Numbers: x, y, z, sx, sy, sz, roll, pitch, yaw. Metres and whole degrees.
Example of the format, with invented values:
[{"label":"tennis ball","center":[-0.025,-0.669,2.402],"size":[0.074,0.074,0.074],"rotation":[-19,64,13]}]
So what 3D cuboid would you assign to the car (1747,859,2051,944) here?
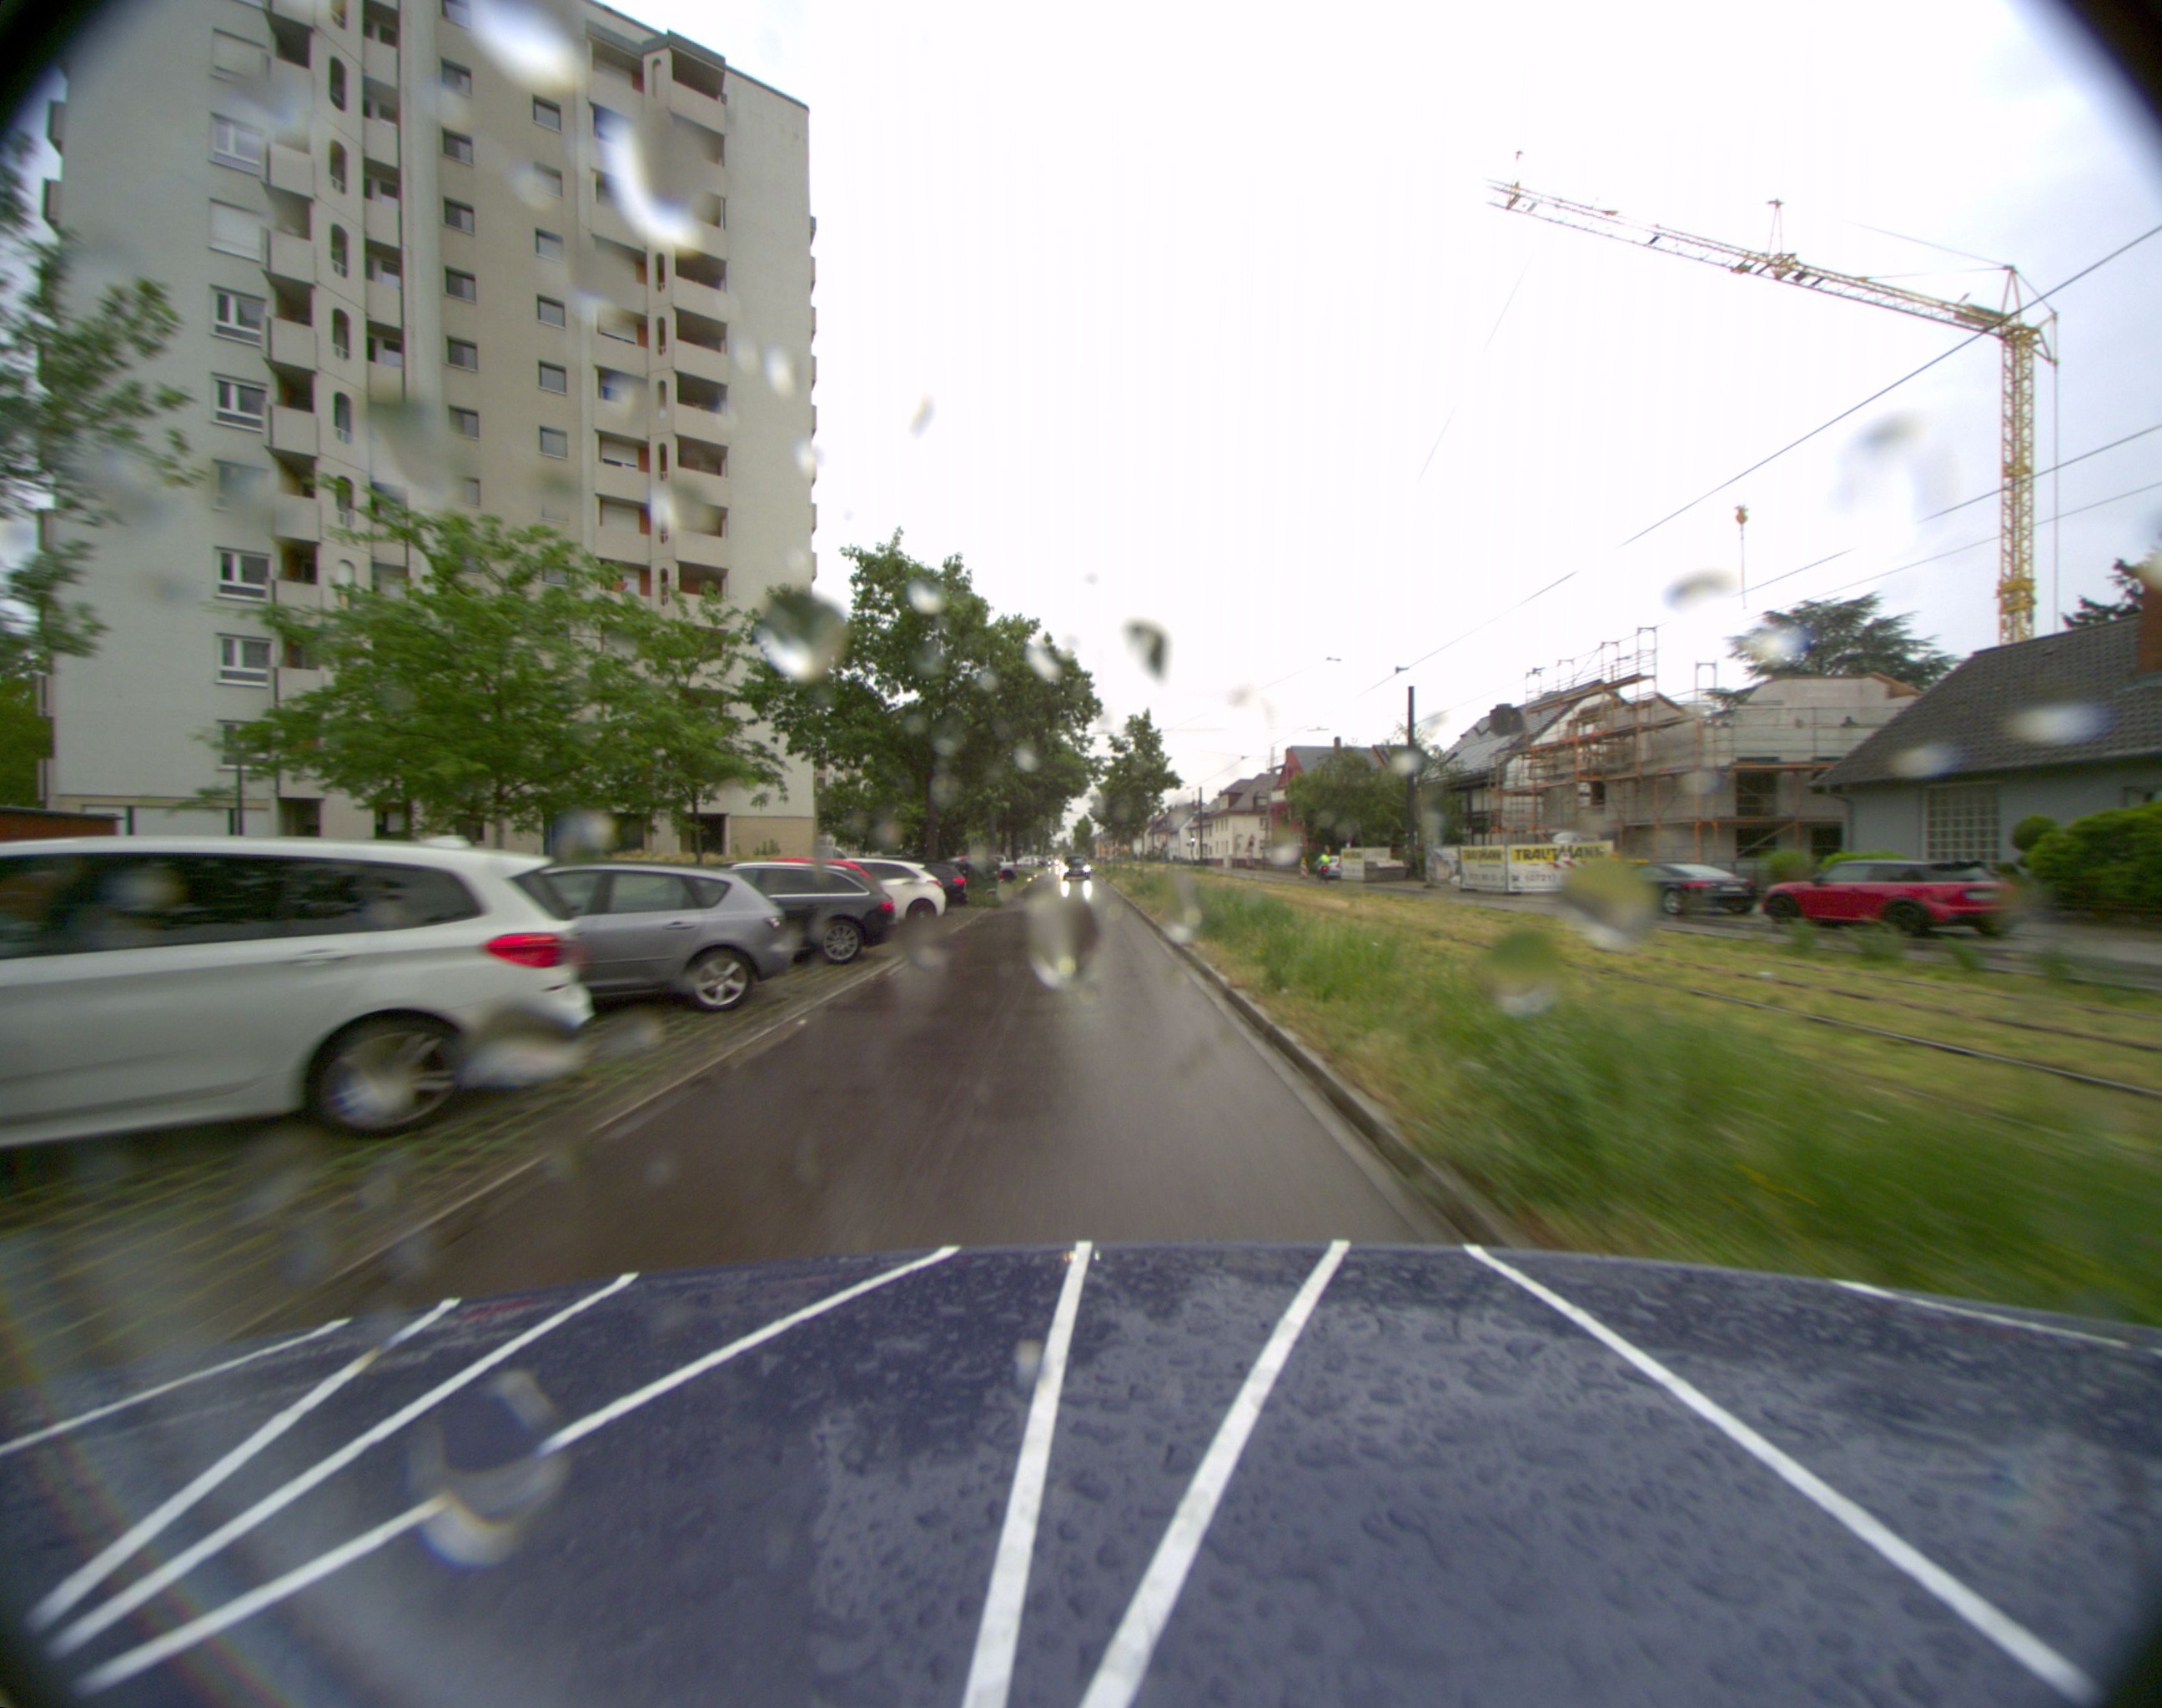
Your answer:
[{"label":"car","center":[16.137,0.860,15.350],"size":[1.999,1.365,3.842],"rotation":[-1,1,0]}]

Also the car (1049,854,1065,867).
[{"label":"car","center":[-3.312,0.933,106.399],"size":[1.998,1.696,4.000],"rotation":[-1,1,2]}]

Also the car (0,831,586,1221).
[{"label":"car","center":[-5.294,0.723,3.845],"size":[4.471,1.661,1.808],"rotation":[3,-1,-39]}]

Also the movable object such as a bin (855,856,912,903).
[{"label":"movable object such as a bin","center":[-6.389,0.788,24.565],"size":[1.370,1.414,1.183],"rotation":[-2,2,-41]}]

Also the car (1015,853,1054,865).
[{"label":"car","center":[-5.873,0.595,95.944],"size":[4.486,1.320,1.995],"rotation":[-2,1,-30]}]

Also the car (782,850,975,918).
[{"label":"car","center":[-5.155,0.782,19.550],"size":[4.469,1.533,1.680],"rotation":[3,1,-31]}]

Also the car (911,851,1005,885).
[{"label":"car","center":[-5.887,0.686,36.559],"size":[4.055,1.479,1.720],"rotation":[2,-1,-35]}]

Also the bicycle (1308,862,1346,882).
[{"label":"bicycle","center":[13.706,0.967,42.465],"size":[0.937,1.037,3.433],"rotation":[0,0,-1]}]

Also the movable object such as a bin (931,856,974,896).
[{"label":"movable object such as a bin","center":[-4.434,0.742,26.260],"size":[0.999,1.305,1.183],"rotation":[-2,2,-37]}]

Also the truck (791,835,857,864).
[{"label":"truck","center":[-23.639,-0.437,70.097],"size":[5.680,2.424,2.120],"rotation":[-2,1,-17]}]

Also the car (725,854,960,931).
[{"label":"car","center":[-5.081,0.819,16.408],"size":[4.470,1.456,1.815],"rotation":[3,-1,-34]}]

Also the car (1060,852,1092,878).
[{"label":"car","center":[-0.321,0.705,50.690],"size":[1.998,1.611,3.999],"rotation":[-1,1,0]}]

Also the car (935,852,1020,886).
[{"label":"car","center":[-5.407,0.745,39.794],"size":[4.054,1.676,1.720],"rotation":[-1,1,-35]}]

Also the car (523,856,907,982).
[{"label":"car","center":[-4.878,0.829,10.528],"size":[4.470,1.419,1.680],"rotation":[3,-1,-33]}]

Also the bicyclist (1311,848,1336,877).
[{"label":"bicyclist","center":[13.674,0.488,42.859],"size":[0.956,1.575,1.400],"rotation":[-1,1,0]}]

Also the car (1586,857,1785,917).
[{"label":"car","center":[16.017,0.836,20.489],"size":[1.999,1.401,4.175],"rotation":[-1,-1,0]}]

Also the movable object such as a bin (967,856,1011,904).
[{"label":"movable object such as a bin","center":[-3.205,0.886,26.458],"size":[1.165,1.553,1.372],"rotation":[-2,2,-23]}]

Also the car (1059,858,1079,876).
[{"label":"car","center":[-1.289,1.432,84.944],"size":[1.998,1.762,4.000],"rotation":[-1,1,2]}]

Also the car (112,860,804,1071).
[{"label":"car","center":[-5.147,0.845,7.108],"size":[4.470,1.401,1.763],"rotation":[3,-1,-34]}]

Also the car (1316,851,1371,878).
[{"label":"car","center":[17.094,0.633,49.685],"size":[1.999,1.618,4.249],"rotation":[-1,1,-2]}]

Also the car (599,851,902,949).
[{"label":"car","center":[-5.617,0.760,13.209],"size":[4.471,1.419,1.805],"rotation":[3,-1,-37]}]
